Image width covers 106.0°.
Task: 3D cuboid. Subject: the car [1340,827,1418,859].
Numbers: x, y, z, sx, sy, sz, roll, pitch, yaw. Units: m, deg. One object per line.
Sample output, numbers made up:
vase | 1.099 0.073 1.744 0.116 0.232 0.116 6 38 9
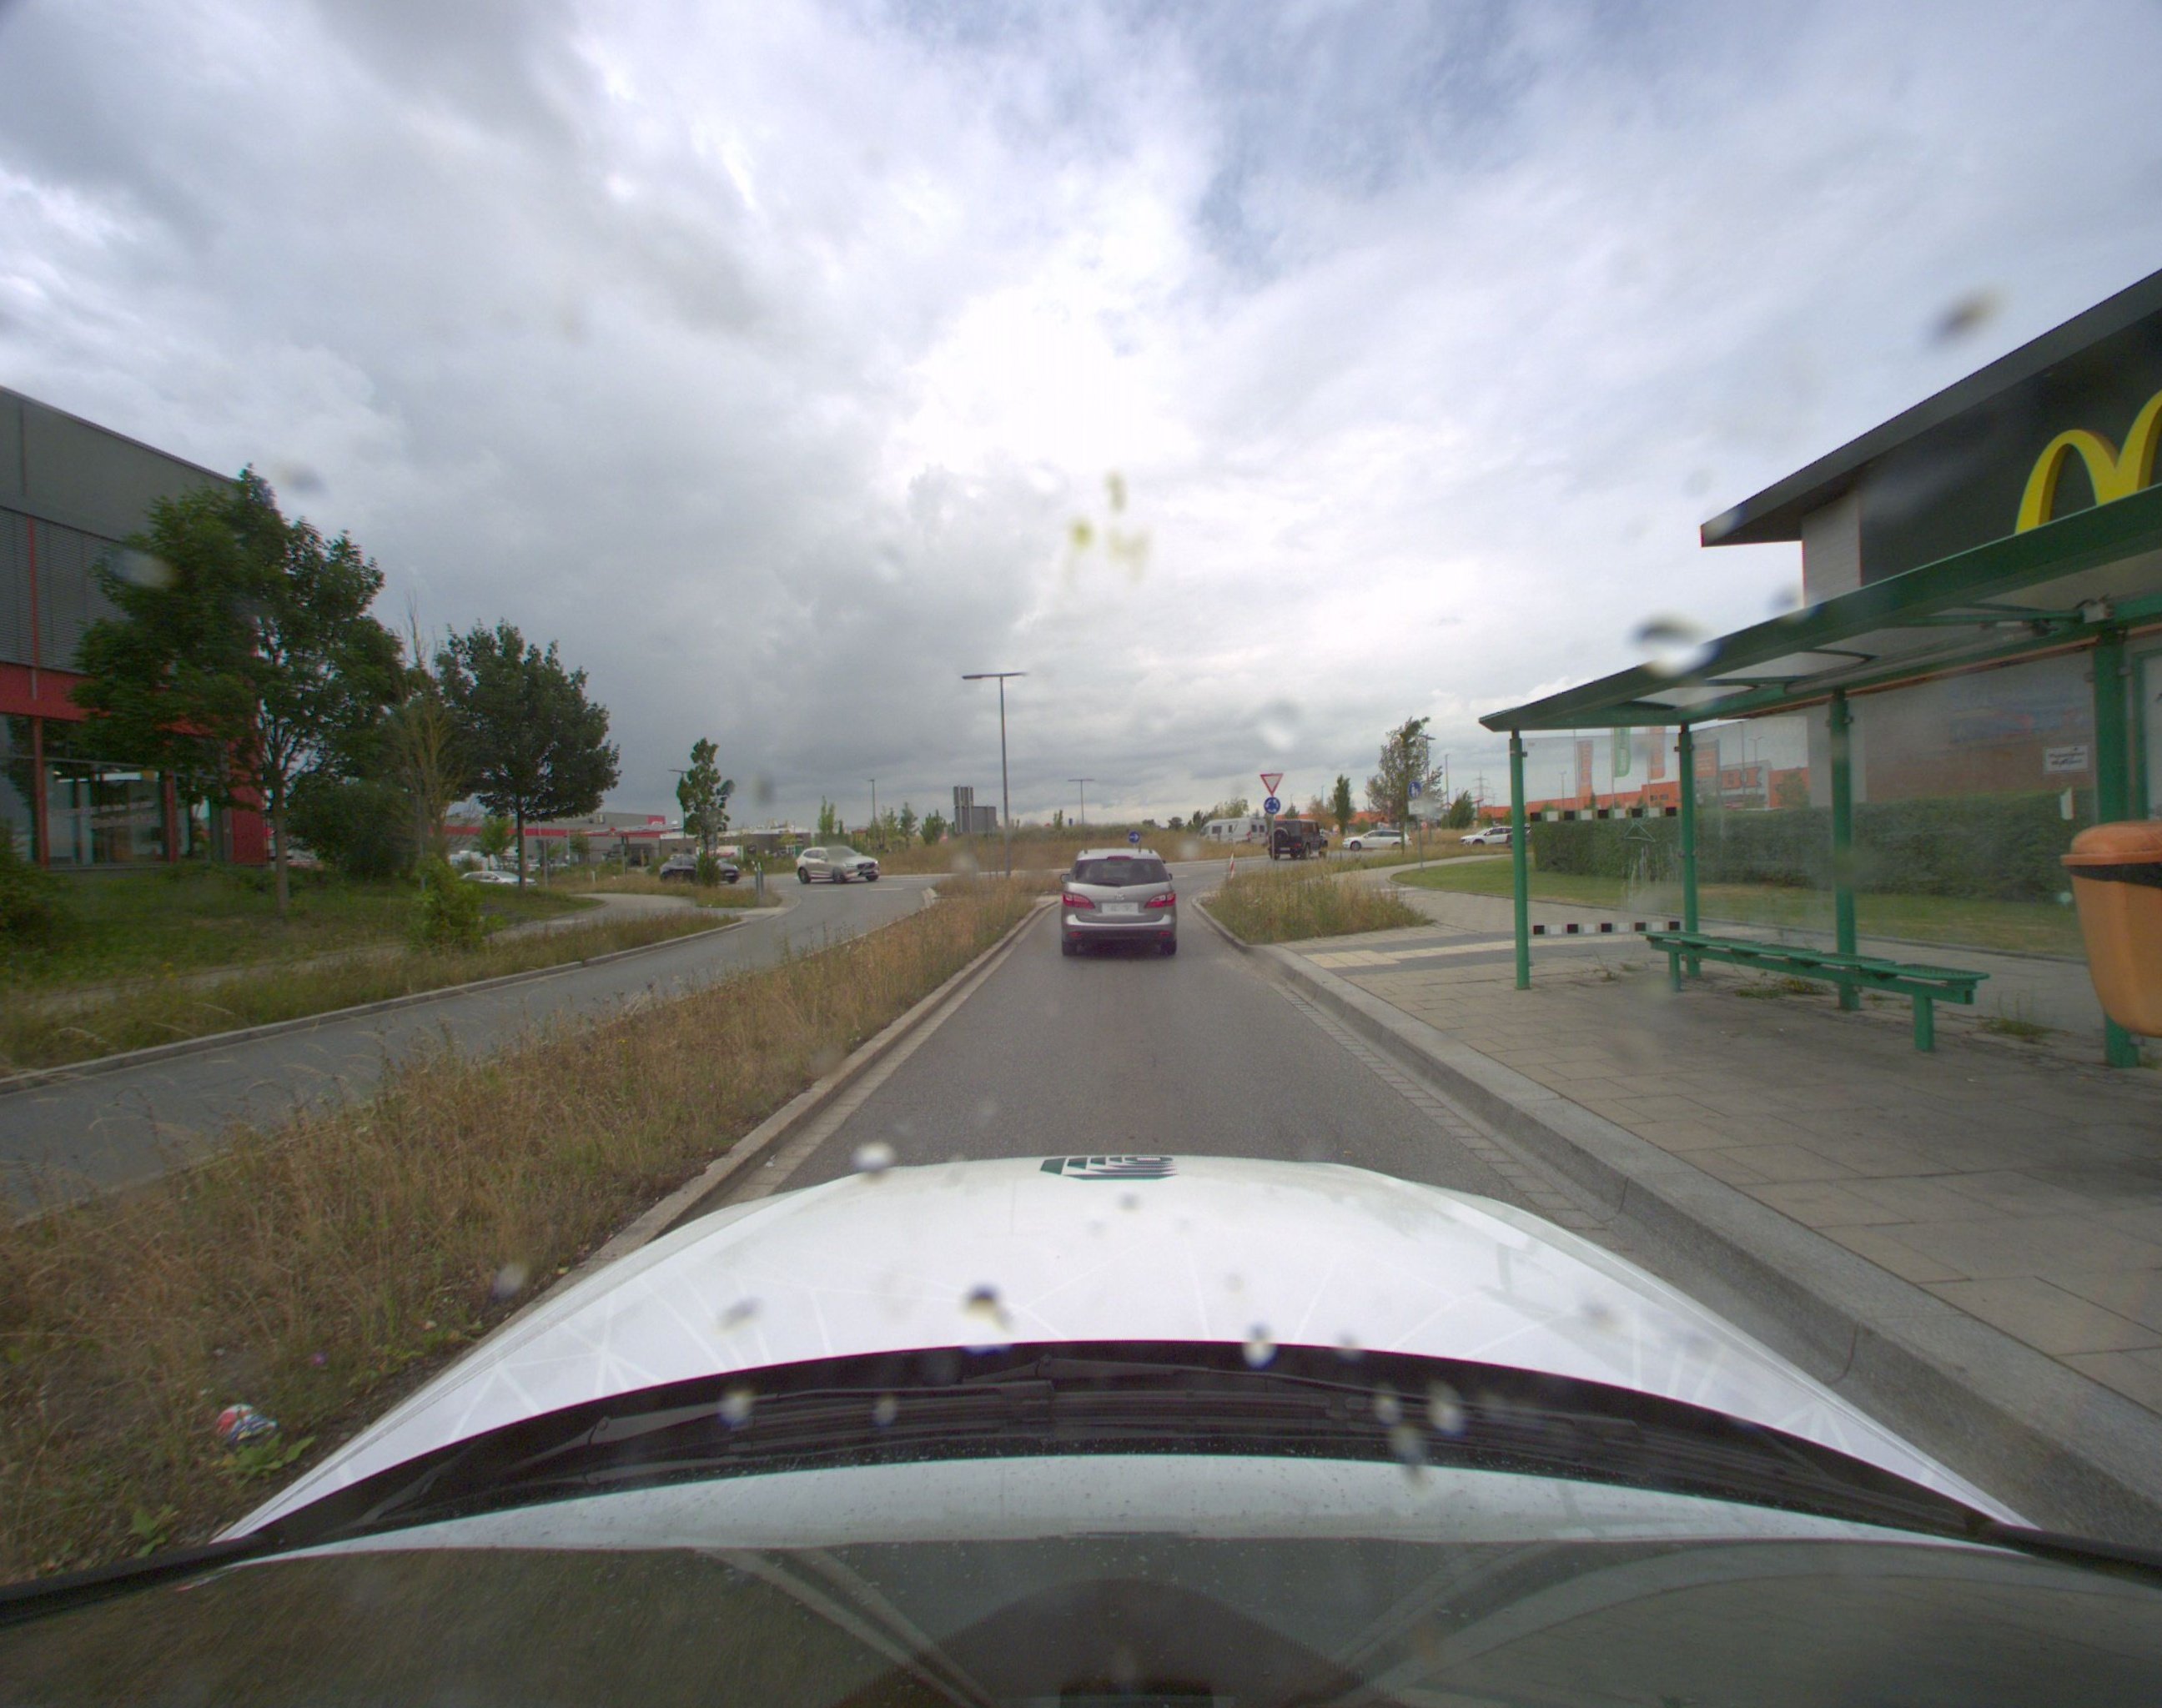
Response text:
car | 20.044 -0.753 54.925 4.723 1.886 2.093 -2 2 15

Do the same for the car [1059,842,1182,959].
car | 0.623 0.633 13.506 1.731 1.598 4.000 0 1 2

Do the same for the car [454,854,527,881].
car | -64.767 1.412 89.551 2.454 2.820 7.689 0 -1 0

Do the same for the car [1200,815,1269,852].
car | 11.228 -1.483 59.847 2.094 2.543 4.722 -5 3 -36

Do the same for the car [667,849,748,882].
car | -19.476 0.593 42.364 4.713 1.498 1.957 -1 3 41

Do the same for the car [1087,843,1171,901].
car | 1.532 0.464 24.549 1.725 1.403 4.015 0 3 15

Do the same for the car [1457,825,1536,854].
car | 27.151 -0.928 53.356 4.294 1.648 1.878 -2 2 15

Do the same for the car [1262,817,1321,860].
car | 10.599 -0.808 40.796 2.059 1.886 4.803 -2 3 24

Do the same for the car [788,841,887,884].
car | -11.076 0.386 36.891 4.713 1.738 1.957 -1 3 41
